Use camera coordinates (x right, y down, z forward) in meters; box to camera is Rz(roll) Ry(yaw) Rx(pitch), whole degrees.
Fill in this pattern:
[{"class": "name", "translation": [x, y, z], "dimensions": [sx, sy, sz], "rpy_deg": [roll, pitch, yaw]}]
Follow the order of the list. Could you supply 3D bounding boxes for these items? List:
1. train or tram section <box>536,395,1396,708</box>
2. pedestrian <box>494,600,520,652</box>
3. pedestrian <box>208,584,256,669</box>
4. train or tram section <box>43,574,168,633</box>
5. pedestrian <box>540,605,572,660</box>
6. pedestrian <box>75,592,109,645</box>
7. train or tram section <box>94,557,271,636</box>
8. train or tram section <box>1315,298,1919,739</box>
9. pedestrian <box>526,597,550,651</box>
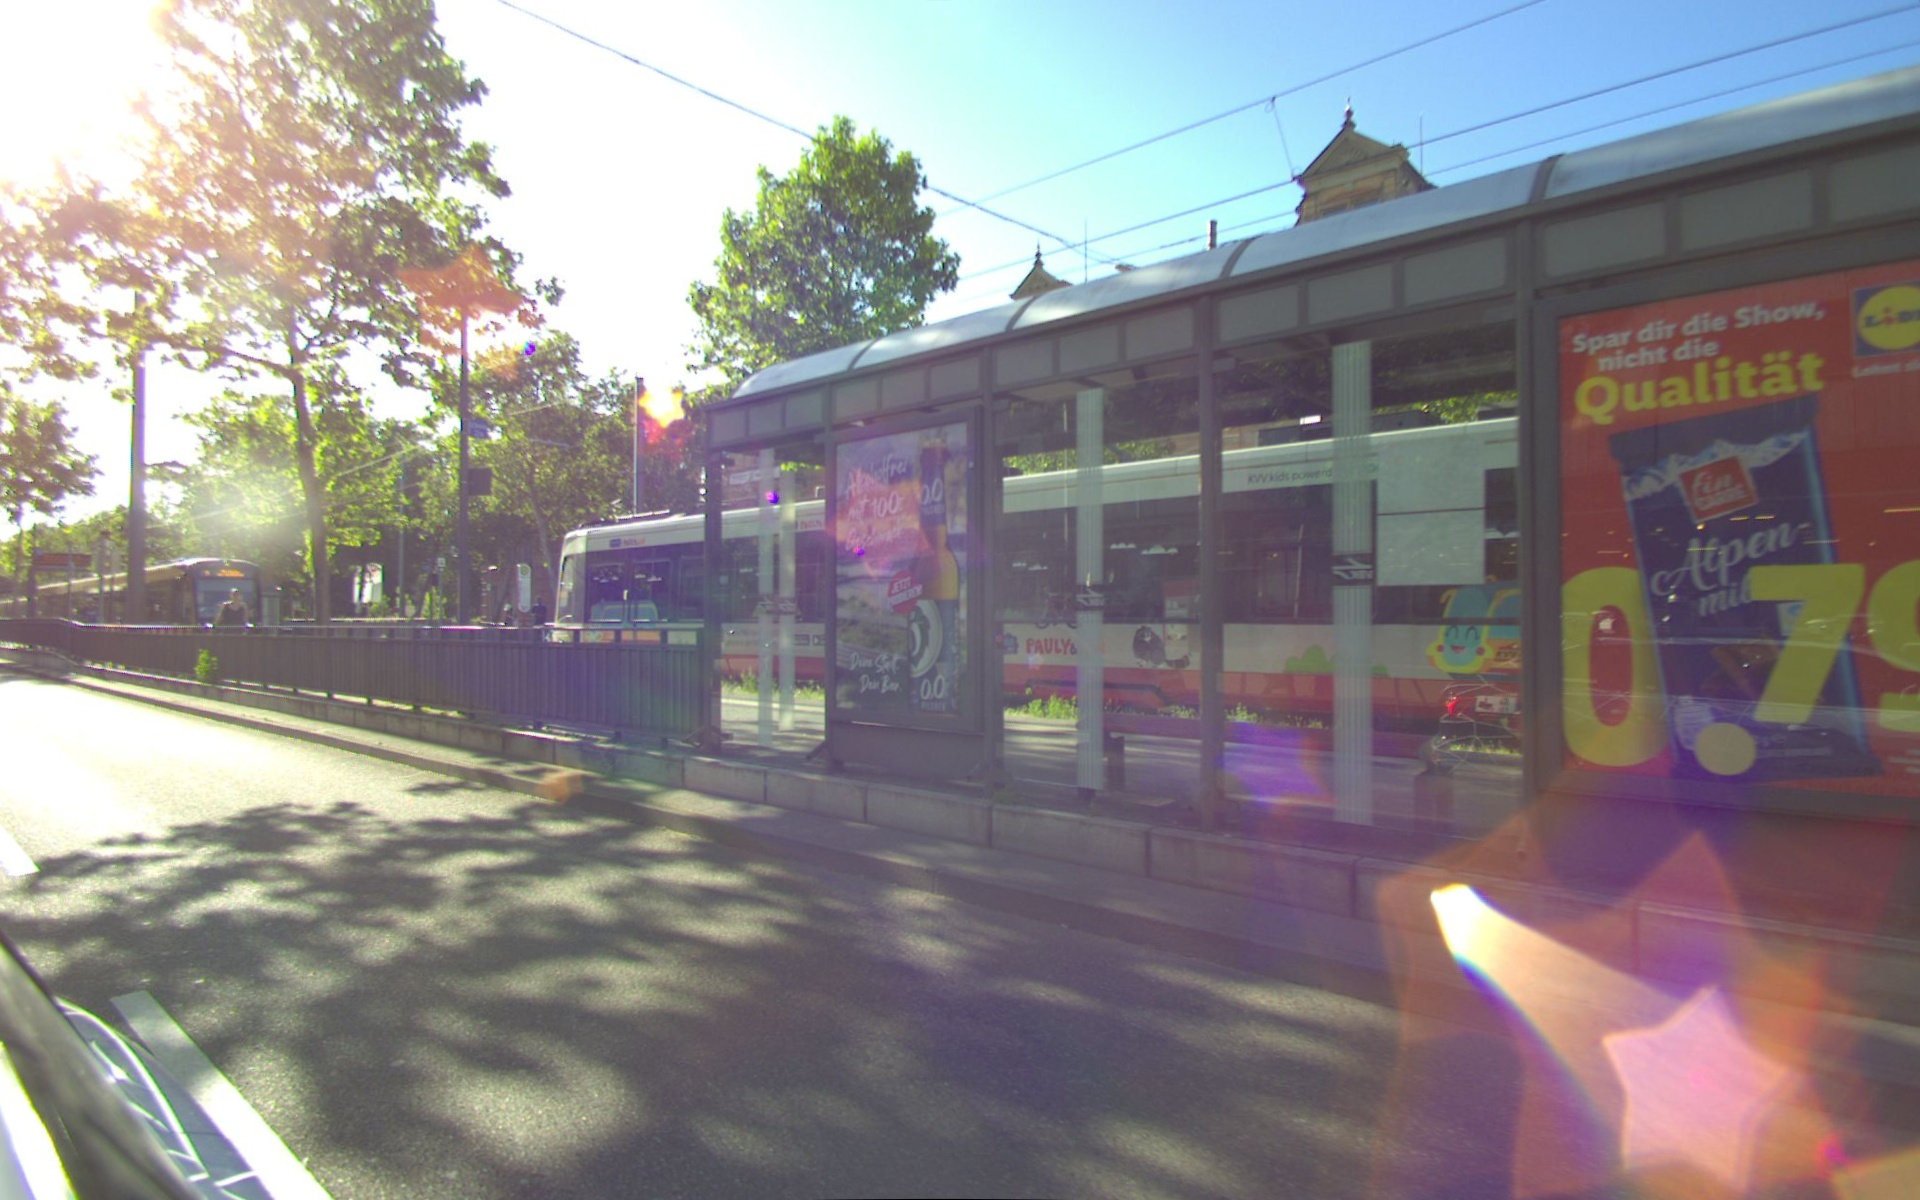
[{"class": "train or tram section", "translation": [-2.029, -0.363, 18.348], "dimensions": [18.268, 3.460, 2.840], "rpy_deg": [-2, -1, 42]}, {"class": "pedestrian", "translation": [-16.011, 0.926, 35.775], "dimensions": [0.617, 1.815, 0.624], "rpy_deg": [1, -3, -2]}, {"class": "pedestrian", "translation": [-15.195, 0.553, 21.118], "dimensions": [0.624, 1.723, 0.674], "rpy_deg": [-2, -2, 41]}, {"class": "train or tram section", "translation": [-42.076, 0.316, 49.536], "dimensions": [15.067, 2.551, 2.535], "rpy_deg": [-1, -2, 42]}, {"class": "pedestrian", "translation": [-13.236, 1.063, 33.177], "dimensions": [0.812, 1.770, 0.668], "rpy_deg": [-2, -2, 40]}, {"class": "pedestrian", "translation": [-27.641, 0.597, 32.239], "dimensions": [0.761, 1.648, 0.691], "rpy_deg": [-1, -2, 41]}, {"class": "train or tram section", "translation": [-30.586, 0.039, 39.310], "dimensions": [15.668, 2.584, 2.535], "rpy_deg": [-1, -2, 42]}, {"class": "train or tram section", "translation": [11.655, -0.735, 6.149], "dimensions": [18.207, 3.460, 2.819], "rpy_deg": [-2, -1, 42]}, {"class": "pedestrian", "translation": [-14.388, 0.838, 34.532], "dimensions": [0.615, 1.815, 0.626], "rpy_deg": [2, -3, -15]}]
